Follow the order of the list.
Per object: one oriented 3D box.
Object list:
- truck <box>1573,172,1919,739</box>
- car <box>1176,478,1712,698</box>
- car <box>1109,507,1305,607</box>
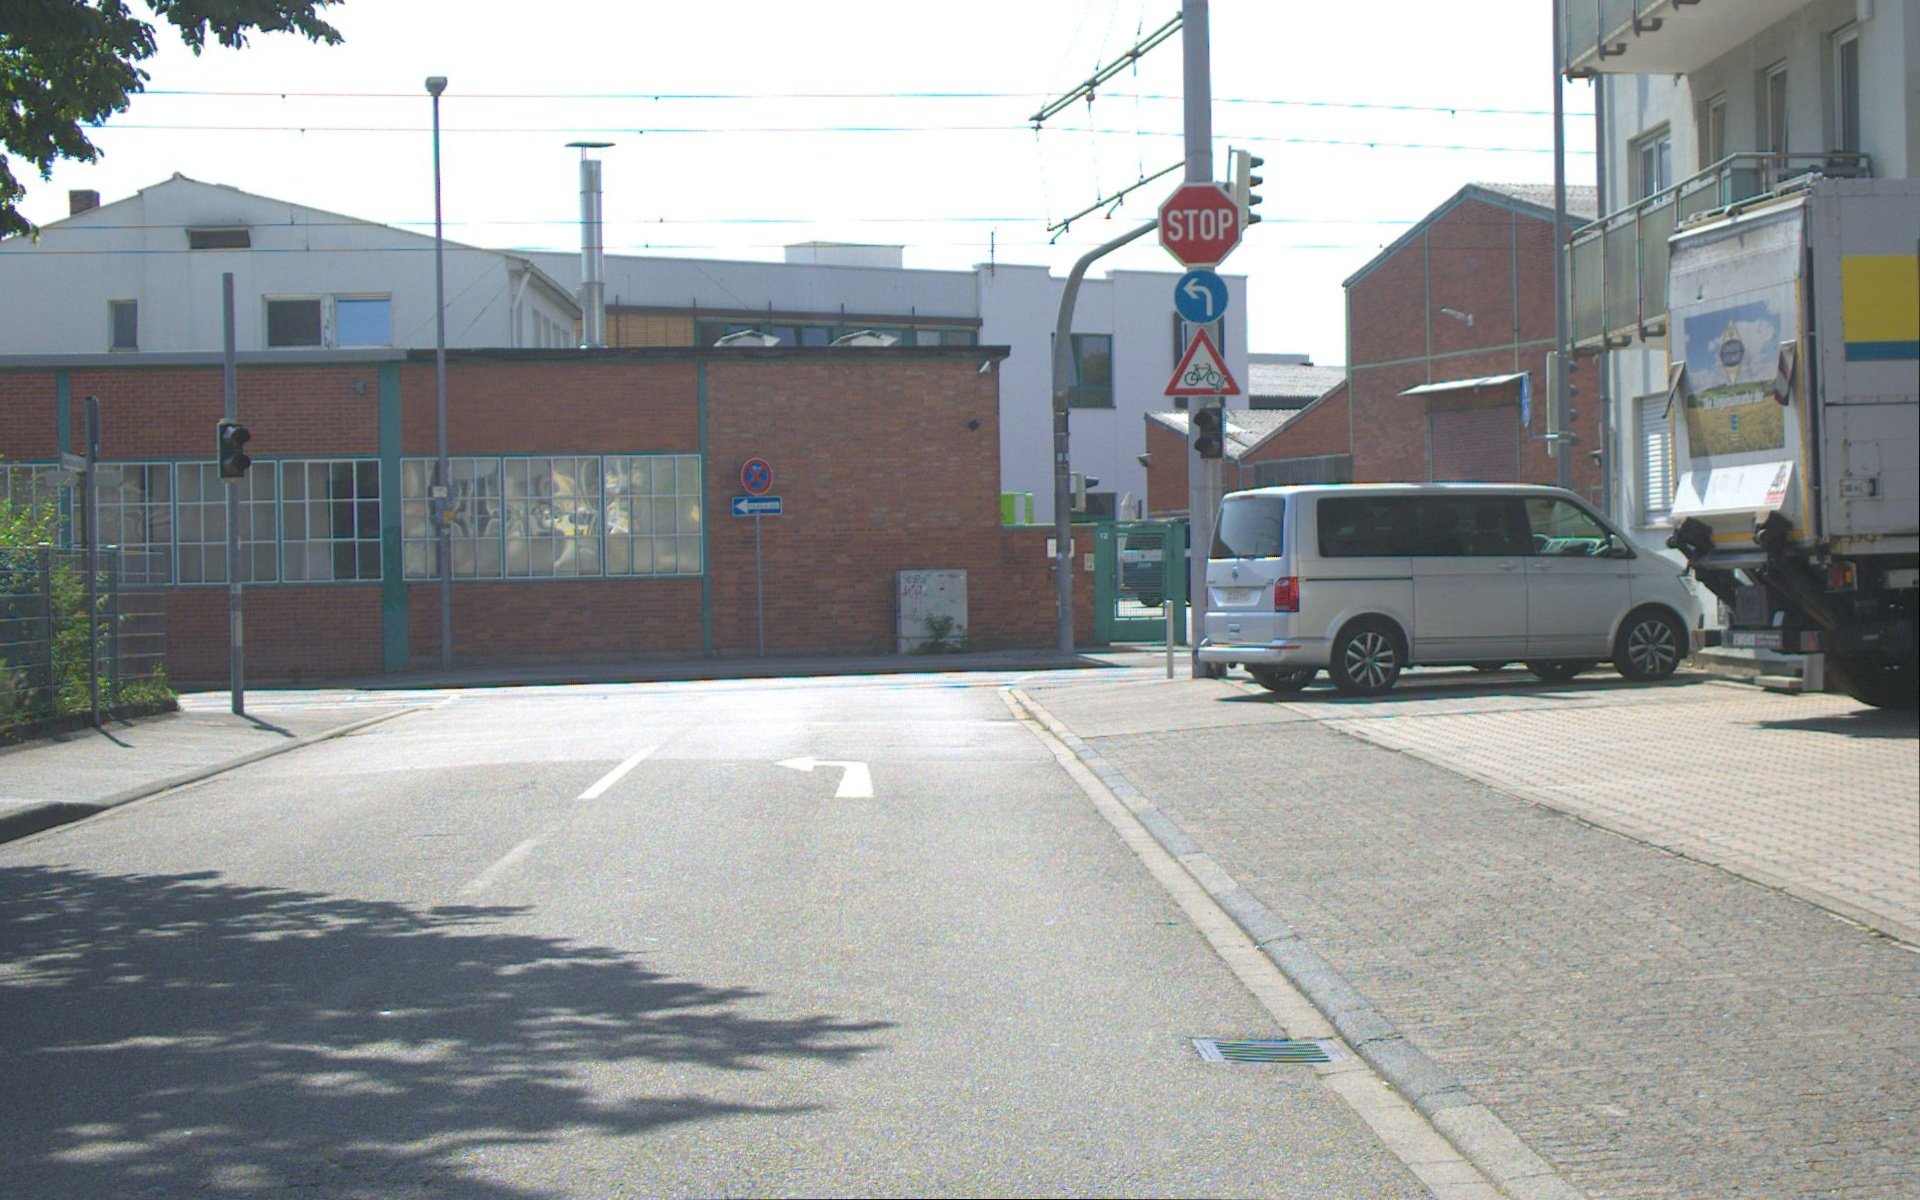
[{"bbox_3d":[8.407,-1.159,24.244,7.357,3.633,2.768,-4,1,-7],"label":"truck"},{"bbox_3d":[4.578,-0.141,32.574,4.653,1.951,1.917,-1,1,-20],"label":"car"},{"bbox_3d":[5.582,-0.972,77.628,3.987,2.182,2.000,-1,1,-33],"label":"car"}]
